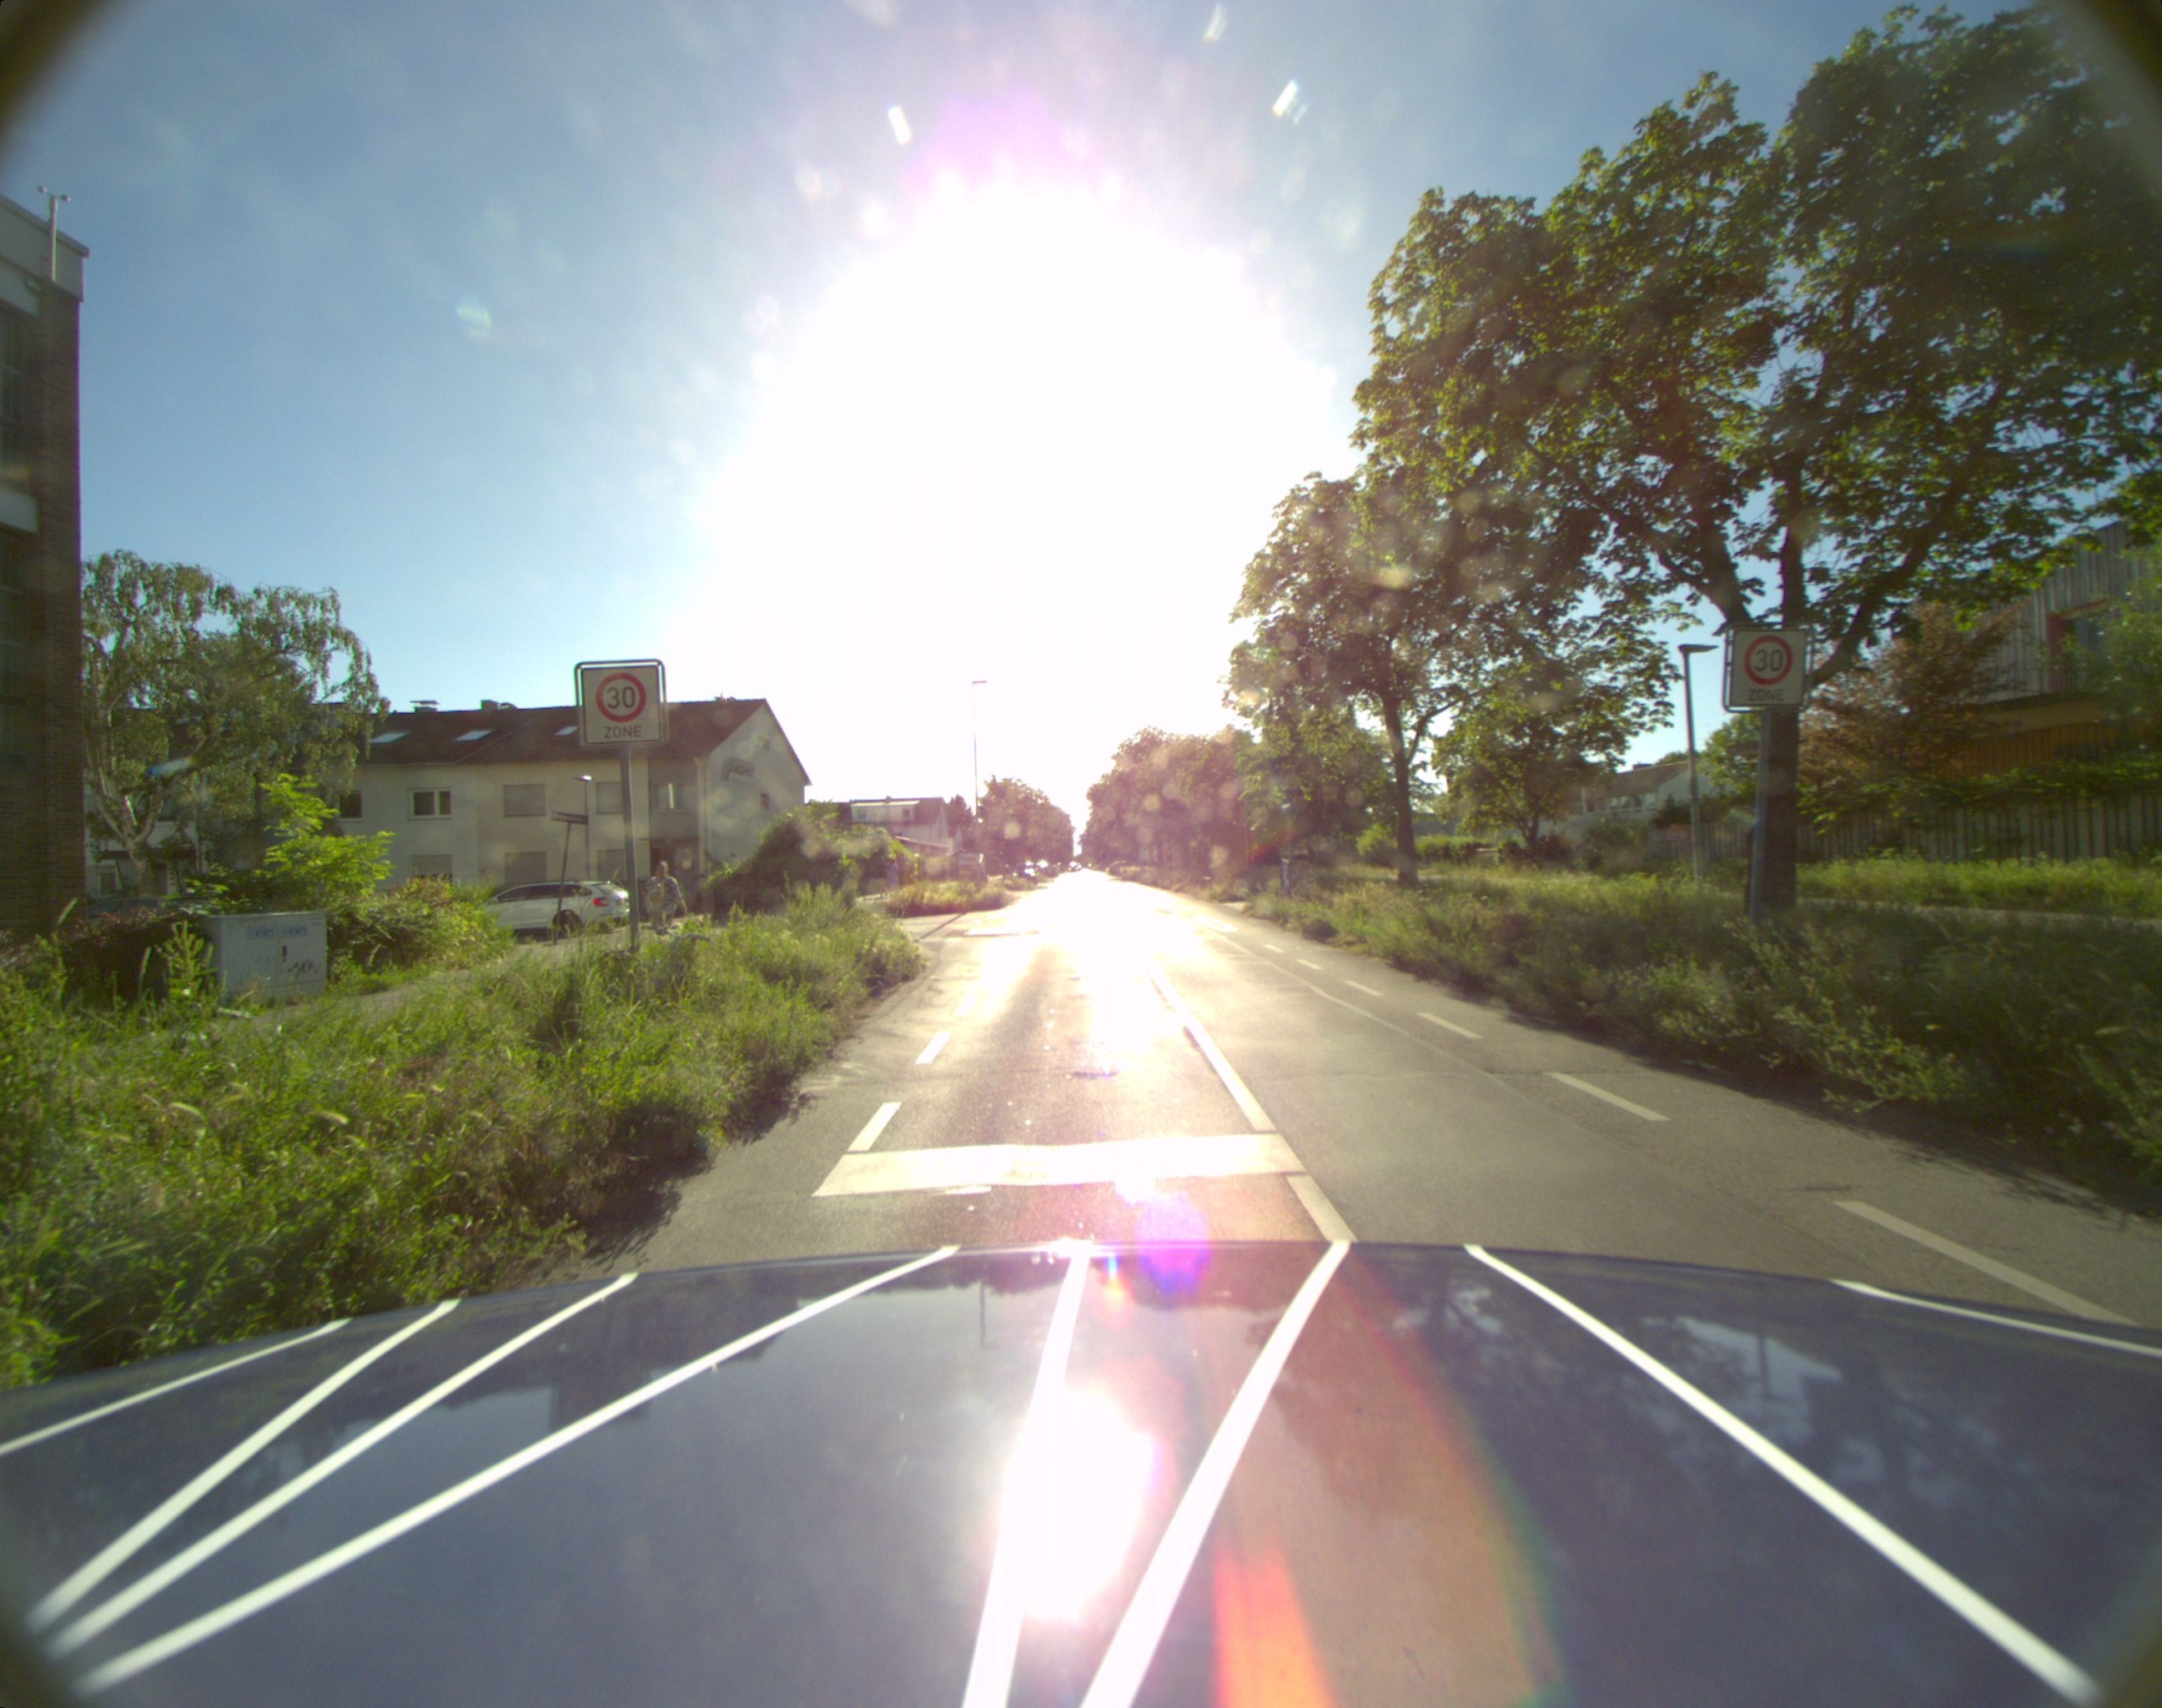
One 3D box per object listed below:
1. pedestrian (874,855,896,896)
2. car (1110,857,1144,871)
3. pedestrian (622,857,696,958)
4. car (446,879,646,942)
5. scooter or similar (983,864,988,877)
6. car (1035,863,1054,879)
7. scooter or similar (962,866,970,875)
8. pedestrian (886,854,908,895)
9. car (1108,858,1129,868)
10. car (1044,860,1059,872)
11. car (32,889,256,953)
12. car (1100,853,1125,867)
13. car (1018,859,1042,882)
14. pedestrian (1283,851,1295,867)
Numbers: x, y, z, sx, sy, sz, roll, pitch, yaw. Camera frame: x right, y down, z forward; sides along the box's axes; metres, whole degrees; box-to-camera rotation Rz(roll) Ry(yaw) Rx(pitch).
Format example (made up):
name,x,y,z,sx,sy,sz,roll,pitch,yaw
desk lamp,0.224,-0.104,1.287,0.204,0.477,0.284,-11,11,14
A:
name,x,y,z,sx,sy,sz,roll,pitch,yaw
pedestrian,-8.531,0.934,33.035,0.606,1.722,0.640,-3,1,16
car,6.051,1.341,100.078,4.204,1.552,2.000,-3,0,0
pedestrian,-7.953,0.984,14.347,0.902,1.811,0.736,-3,1,-5
car,-14.633,1.528,20.960,4.205,1.493,1.806,-2,-1,0
scooter or similar,-9.971,1.730,79.228,0.503,1.288,0.461,-1,1,-4
car,-3.923,1.822,82.250,1.732,1.568,3.858,-1,0,3
scooter or similar,-10.055,1.459,66.505,0.450,0.712,1.228,2,0,-1
pedestrian,-7.952,0.872,32.864,0.555,1.722,0.662,-3,1,16
car,7.237,1.770,146.649,3.997,1.740,1.890,-3,0,-1
car,-3.589,1.479,92.639,1.733,1.473,3.858,-1,-1,-1
car,-25.855,1.824,21.078,3.952,1.493,1.806,-2,-1,0
car,6.780,1.315,162.979,5.121,2.596,2.125,-3,1,3
car,-3.674,1.202,55.086,1.497,1.564,3.600,-2,0,0
pedestrian,15.545,0.397,56.846,0.639,1.151,0.521,-5,1,-1
